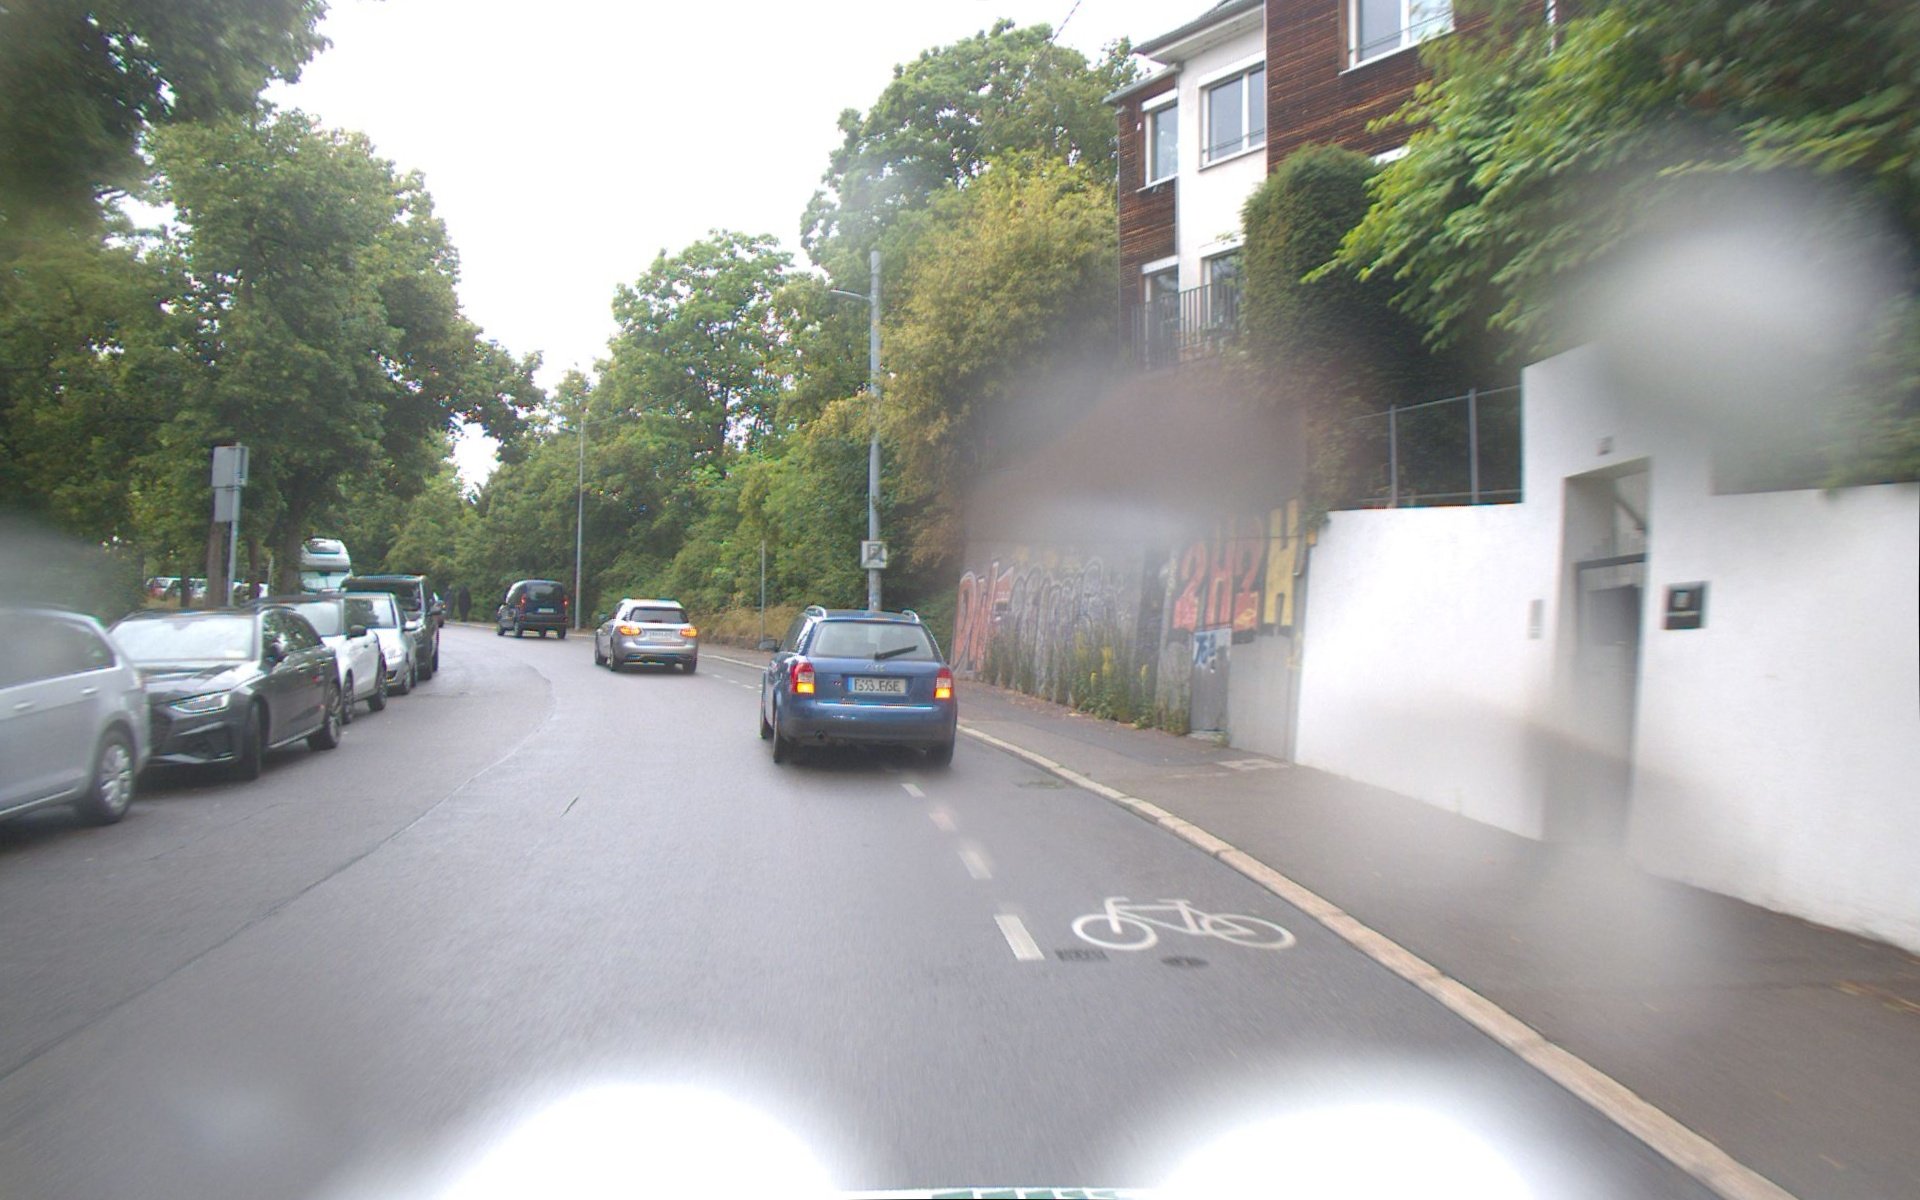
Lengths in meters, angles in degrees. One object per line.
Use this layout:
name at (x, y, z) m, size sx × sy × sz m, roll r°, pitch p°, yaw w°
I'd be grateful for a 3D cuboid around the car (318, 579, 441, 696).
car at (-11.225, 0.639, 32.260) m, size 1.923 × 2.002 × 4.980 m, roll -2°, pitch 2°, yaw -16°

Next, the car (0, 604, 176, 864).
car at (-6.315, 0.785, 9.640) m, size 1.622 × 1.454 × 4.372 m, roll -1°, pitch 0°, yaw -4°

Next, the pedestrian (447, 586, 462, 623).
pedestrian at (-22.262, 0.201, 72.809) m, size 0.546 × 1.594 × 0.482 m, roll 1°, pitch 0°, yaw -29°

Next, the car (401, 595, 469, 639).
car at (-20.926, 0.663, 65.844) m, size 1.803 × 1.645 × 3.747 m, roll 1°, pitch 0°, yaw -30°

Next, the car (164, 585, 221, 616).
car at (-36.830, 0.000, 79.350) m, size 1.974 × 1.430 × 4.663 m, roll 1°, pitch 0°, yaw -31°

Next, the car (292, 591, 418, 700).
car at (-9.713, 0.699, 26.768) m, size 1.657 × 1.579 × 3.748 m, roll -2°, pitch 0°, yaw -17°

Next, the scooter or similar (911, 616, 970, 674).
scooter or similar at (-0.406, 0.919, 33.883) m, size 0.344 × 1.137 × 1.400 m, roll 3°, pitch -2°, yaw -43°

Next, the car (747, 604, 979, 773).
car at (-1.096, 0.798, 16.591) m, size 1.716 × 1.432 × 3.988 m, roll 3°, pitch -1°, yaw -12°

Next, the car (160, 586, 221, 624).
car at (-32.408, 0.194, 69.588) m, size 1.972 × 1.429 × 4.667 m, roll 1°, pitch 1°, yaw -30°

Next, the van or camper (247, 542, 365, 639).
van or camper at (-22.568, -0.359, 56.894) m, size 2.483 × 3.079 × 6.486 m, roll -2°, pitch 2°, yaw -33°

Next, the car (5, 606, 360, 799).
car at (-6.750, 0.786, 14.894) m, size 1.652 × 1.404 × 4.491 m, roll -2°, pitch 0°, yaw -9°

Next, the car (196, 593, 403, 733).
car at (-8.251, 0.731, 21.023) m, size 1.654 × 1.536 × 4.194 m, roll -2°, pitch 0°, yaw -11°

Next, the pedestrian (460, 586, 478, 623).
pedestrian at (-21.727, 0.212, 73.154) m, size 0.589 × 1.594 × 0.662 m, roll 2°, pitch -1°, yaw -30°

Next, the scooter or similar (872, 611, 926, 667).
scooter or similar at (-1.295, 0.826, 35.004) m, size 0.343 × 1.137 × 1.402 m, roll 3°, pitch -2°, yaw -39°

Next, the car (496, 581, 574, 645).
car at (-14.088, 0.429, 54.698) m, size 1.766 × 1.987 × 3.967 m, roll -2°, pitch 0°, yaw -25°

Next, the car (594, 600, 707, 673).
car at (-6.651, 0.749, 35.288) m, size 1.861 × 1.413 × 3.980 m, roll 2°, pitch -1°, yaw -18°
